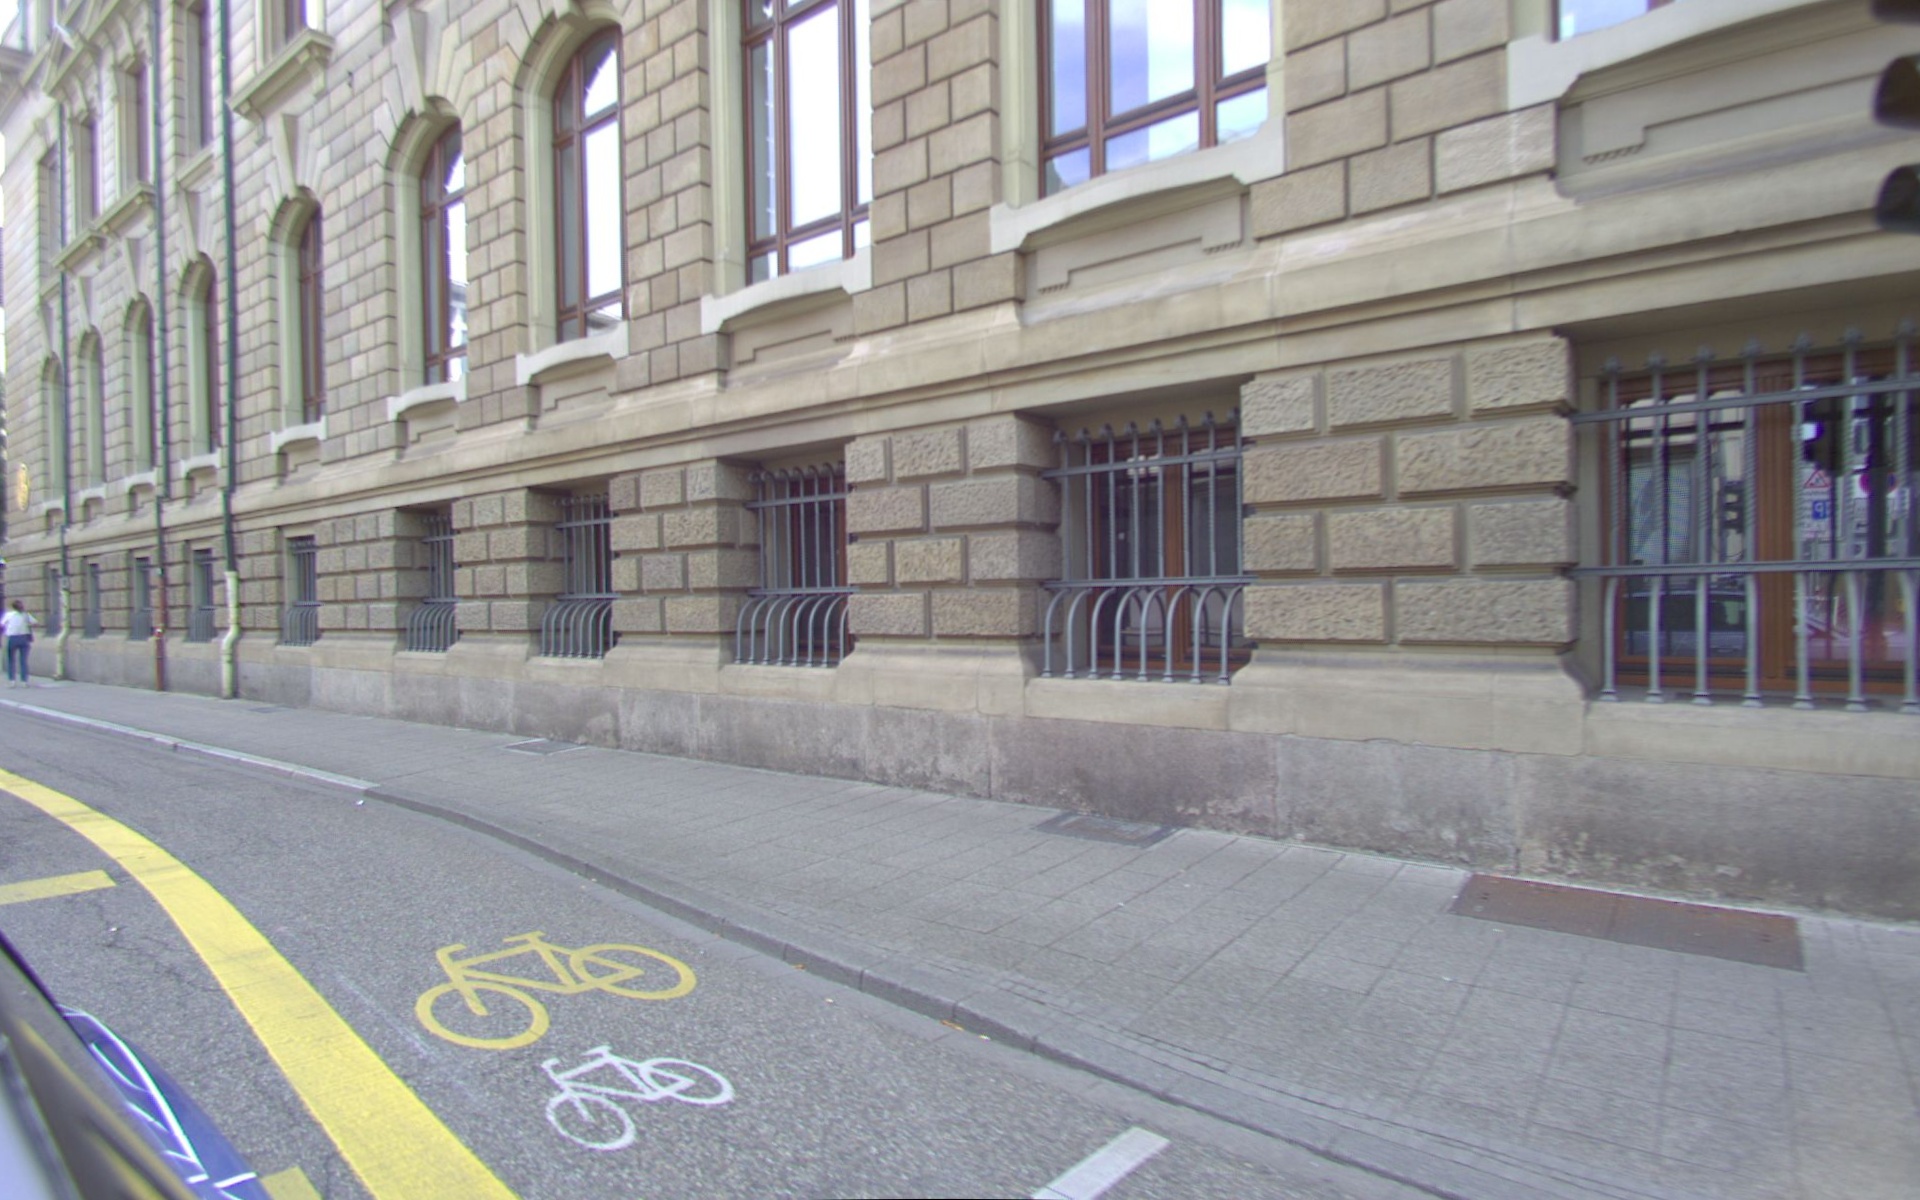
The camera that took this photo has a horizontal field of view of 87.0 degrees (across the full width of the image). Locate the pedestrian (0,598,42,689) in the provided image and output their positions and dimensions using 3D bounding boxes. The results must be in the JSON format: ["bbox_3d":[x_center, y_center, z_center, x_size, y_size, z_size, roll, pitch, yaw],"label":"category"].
[{"bbox_3d":[-20.001,0.900,21.364,1.046,1.833,0.658,-1,2,37],"label":"pedestrian"}]
